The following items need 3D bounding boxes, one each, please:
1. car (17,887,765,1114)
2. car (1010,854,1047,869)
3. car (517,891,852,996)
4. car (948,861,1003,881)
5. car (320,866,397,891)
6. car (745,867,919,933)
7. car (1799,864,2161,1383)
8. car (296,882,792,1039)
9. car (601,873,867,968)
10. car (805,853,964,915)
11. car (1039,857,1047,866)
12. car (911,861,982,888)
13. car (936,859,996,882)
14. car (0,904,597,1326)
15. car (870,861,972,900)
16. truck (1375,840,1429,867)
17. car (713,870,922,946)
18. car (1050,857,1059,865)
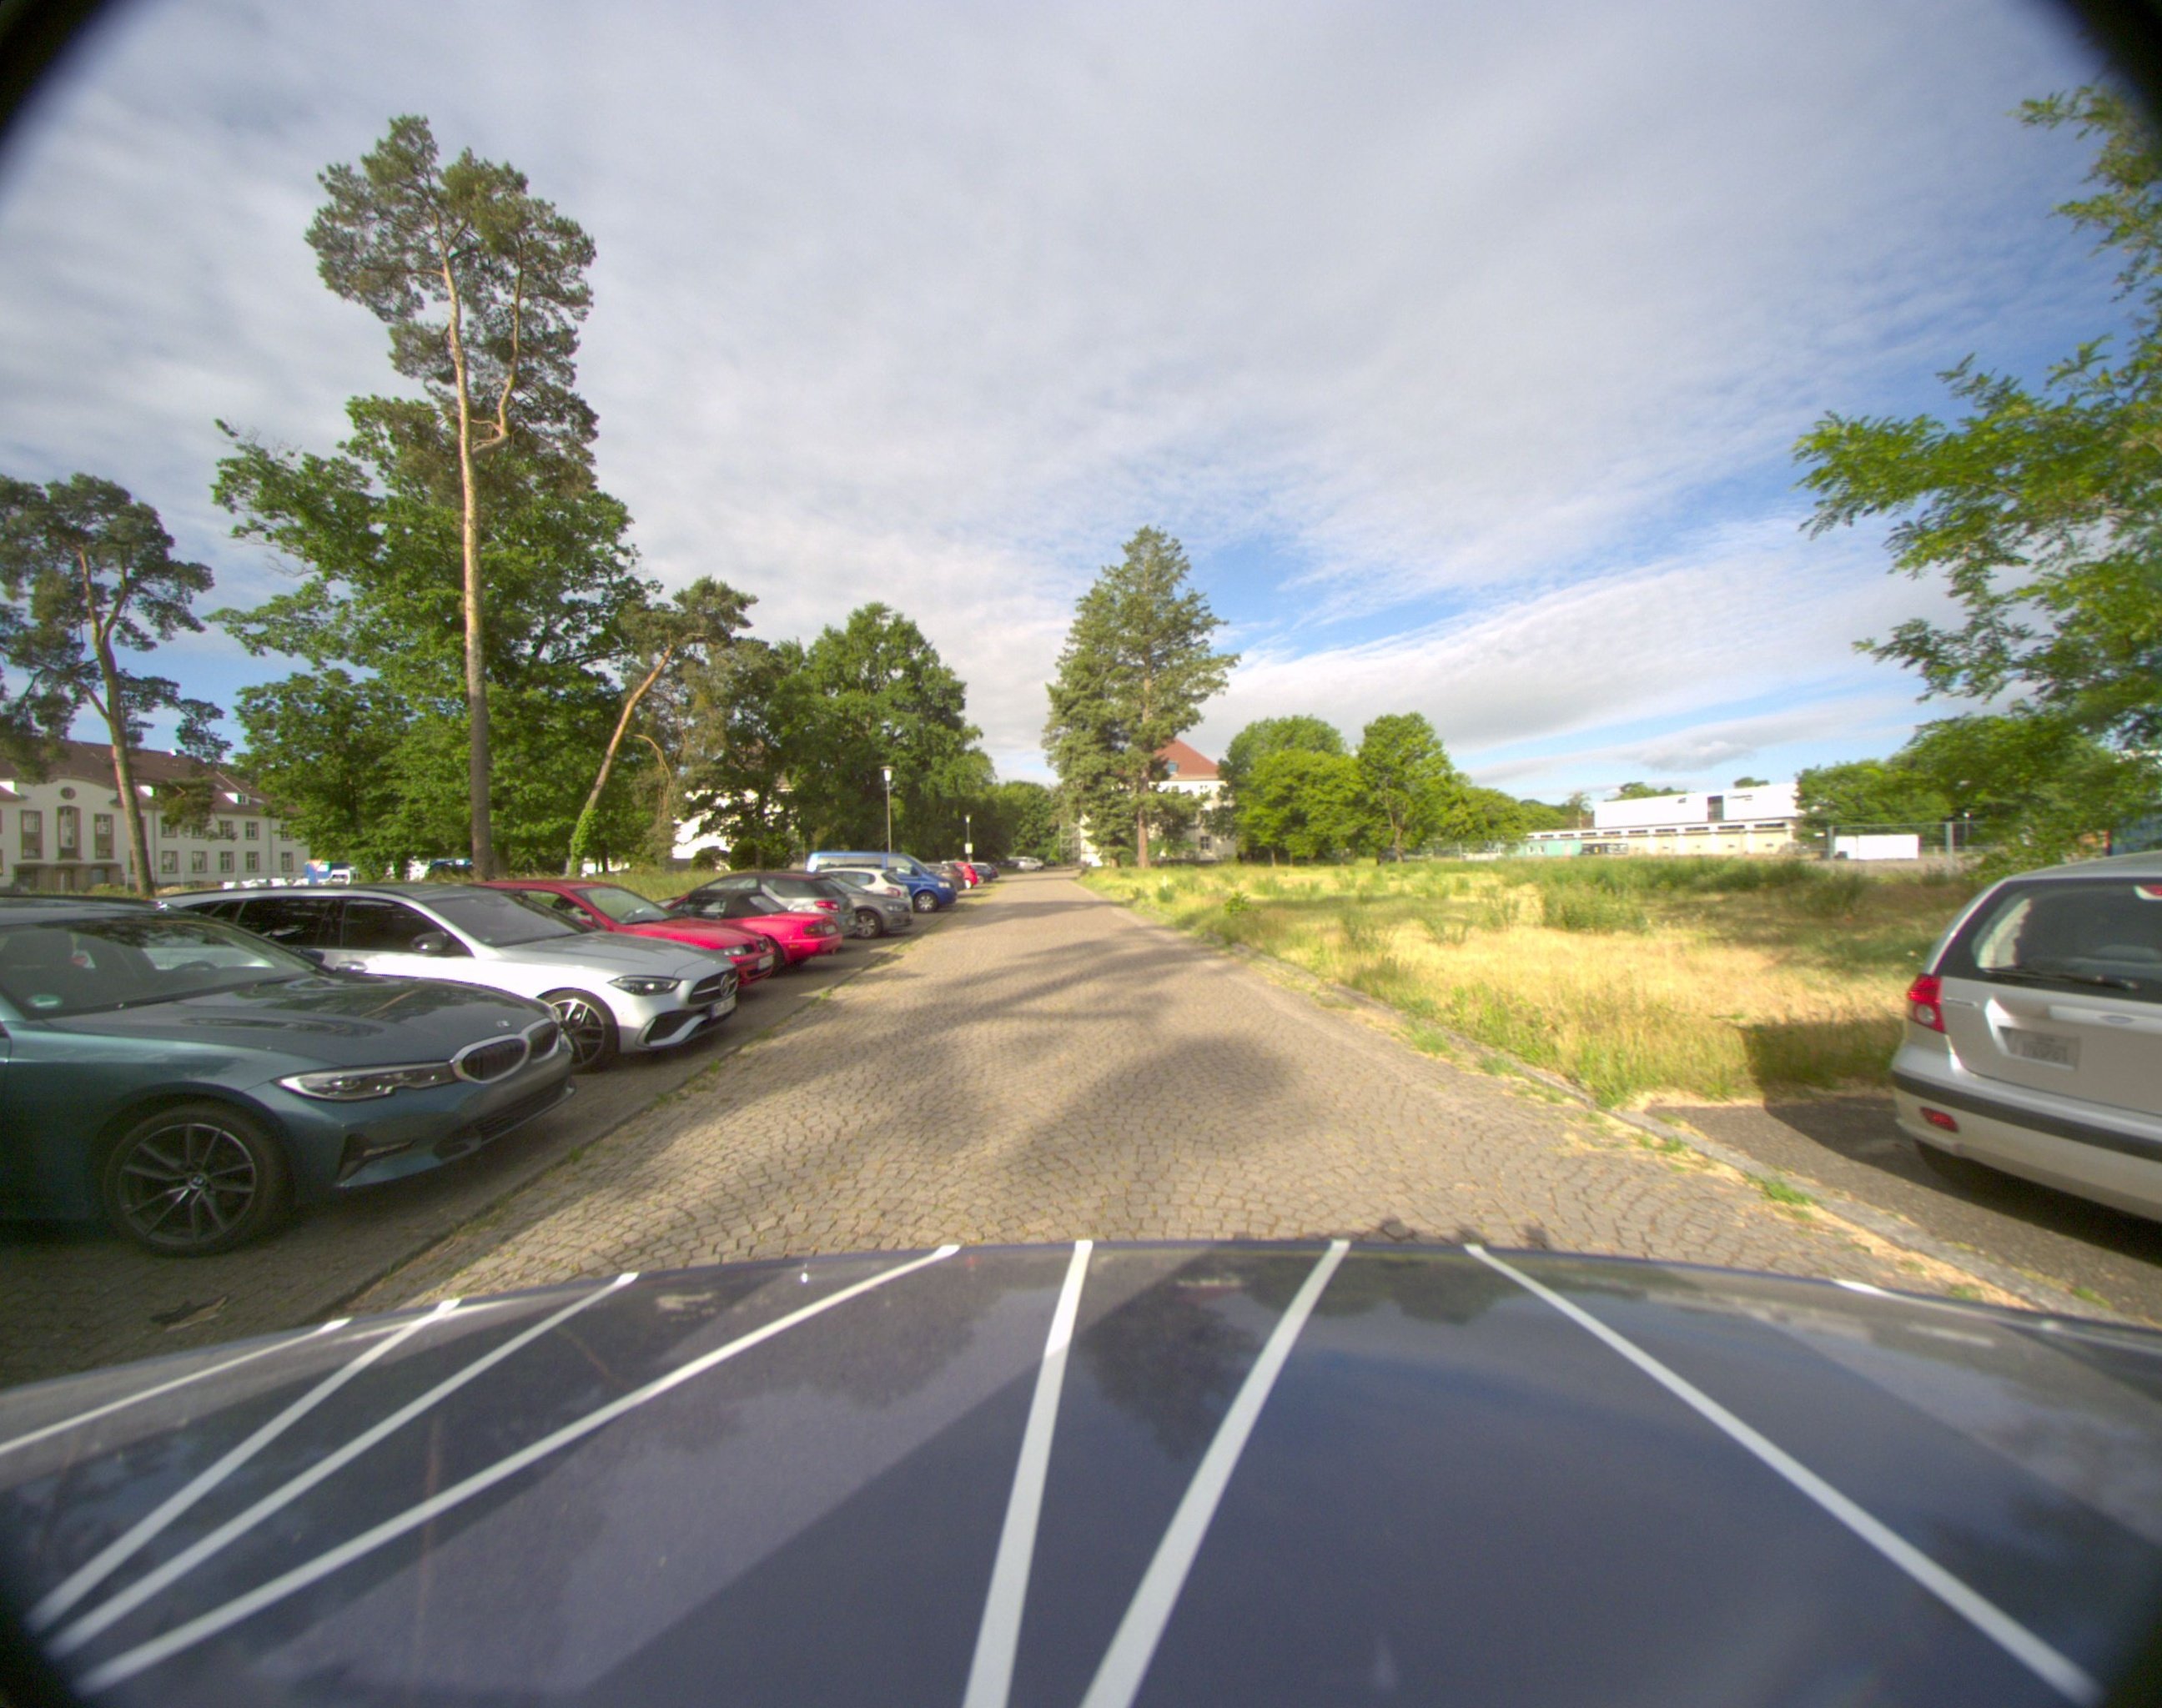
[{"bbox_3d":[-5.355,1.092,6.493,4.519,1.465,1.848,-1,1,-4],"label":"car"},{"bbox_3d":[-7.440,1.021,108.018,5.080,2.029,1.999,-1,0,-4],"label":"car"},{"bbox_3d":[-5.594,1.240,11.136,3.962,1.253,1.726,-1,1,-3],"label":"car"},{"bbox_3d":[-8.155,1.277,58.938,4.036,1.442,1.783,-1,1,-1],"label":"car"},{"bbox_3d":[-73.206,2.438,77.141,2.167,2.286,5.961,-1,0,-1],"label":"car"},{"bbox_3d":[-6.273,1.149,19.525,3.885,1.521,1.807,-1,1,-3],"label":"car"},{"bbox_3d":[5.140,0.784,2.627,3.694,1.465,1.848,-4,1,-5],"label":"car"},{"bbox_3d":[-5.838,1.118,8.737,4.353,1.465,1.739,-1,1,-4],"label":"car"},{"bbox_3d":[-6.103,1.138,13.745,3.962,1.486,1.771,-1,1,-3],"label":"car"},{"bbox_3d":[-6.307,0.944,24.882,4.747,1.917,1.991,1,1,-4],"label":"car"},{"bbox_3d":[-8.738,1.644,174.146,1.875,1.888,3.998,-1,1,-3],"label":"car"},{"bbox_3d":[-7.740,1.188,43.955,3.888,1.464,1.686,0,1,-5],"label":"car"},{"bbox_3d":[-8.163,1.164,54.231,4.137,1.560,1.746,-1,1,-4],"label":"car"},{"bbox_3d":[-5.289,1.087,3.714,4.521,1.465,1.894,-1,1,-8],"label":"car"},{"bbox_3d":[-7.034,1.152,33.721,4.203,1.580,1.877,-1,1,-5],"label":"car"},{"bbox_3d":[32.681,-0.044,77.637,2.418,2.571,6.957,-1,0,-1],"label":"truck"},{"bbox_3d":[-5.647,1.140,16.702,3.962,1.459,1.830,-1,1,-3],"label":"car"},{"bbox_3d":[-6.027,1.637,174.539,1.999,1.762,4.107,-1,1,-3],"label":"car"}]
